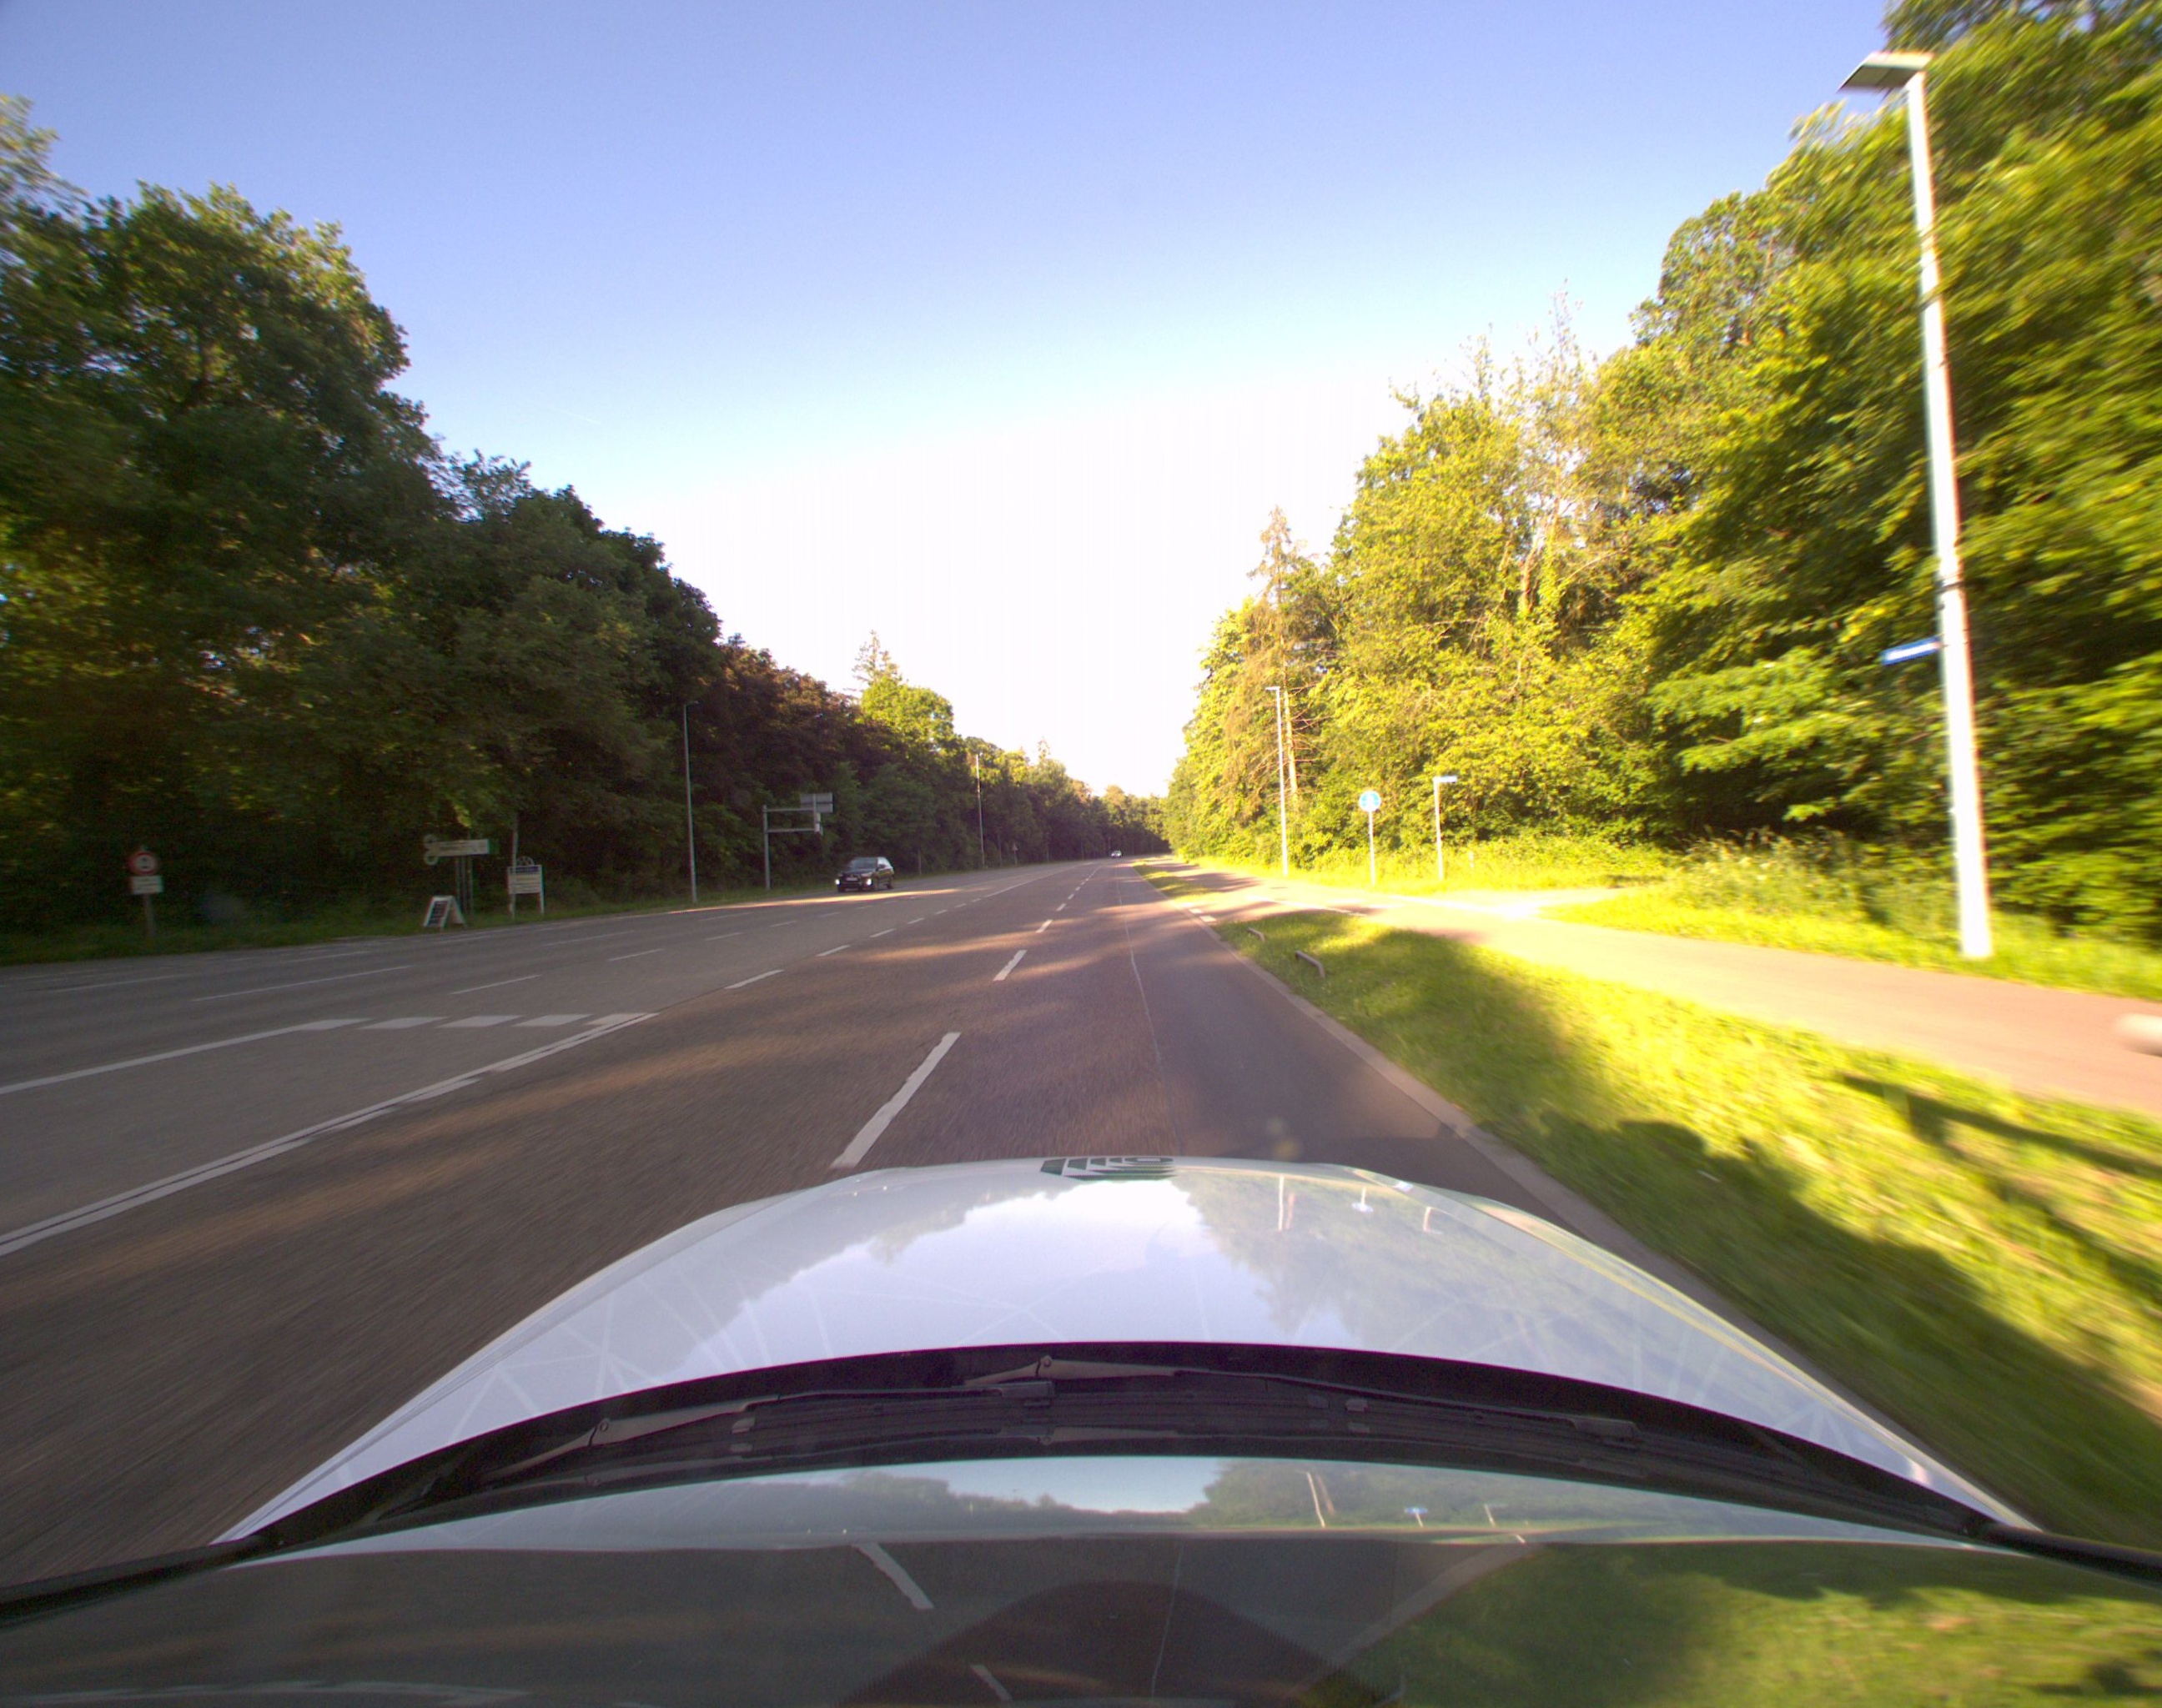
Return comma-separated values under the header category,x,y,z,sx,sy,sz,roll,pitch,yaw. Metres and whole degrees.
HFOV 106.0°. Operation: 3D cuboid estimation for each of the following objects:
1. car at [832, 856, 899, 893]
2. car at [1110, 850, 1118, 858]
category,x,y,z,sx,sy,sz,roll,pitch,yaw
car,-10.238,0.931,38.964,1.818,1.589,4.354,-2,0,2
car,7.812,0.008,192.238,1.900,1.663,4.737,-2,0,3
